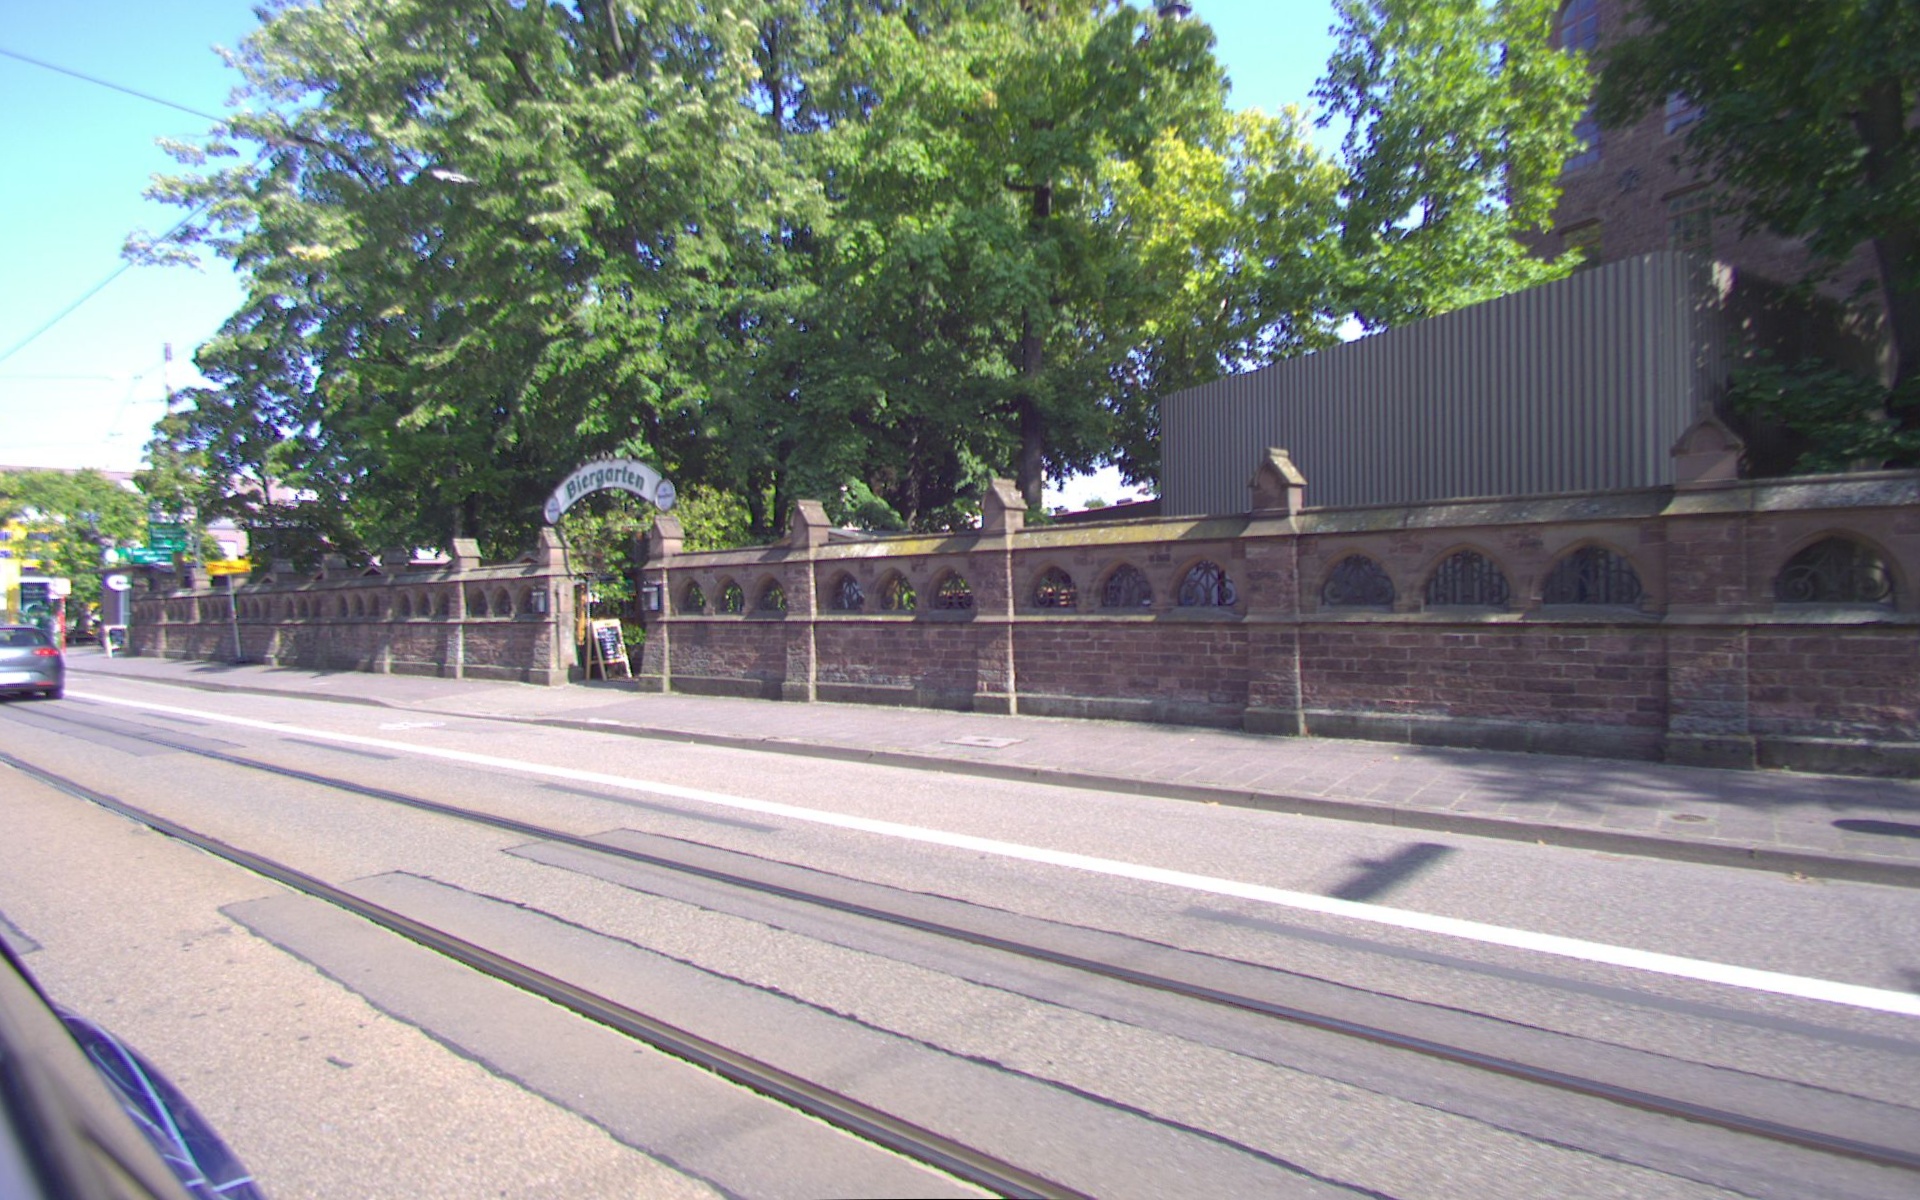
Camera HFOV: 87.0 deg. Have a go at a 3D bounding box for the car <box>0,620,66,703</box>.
[{"bbox_3d":[-18.521,1.137,19.199,3.995,1.453,1.674,-1,-1,38],"label":"car"}]
